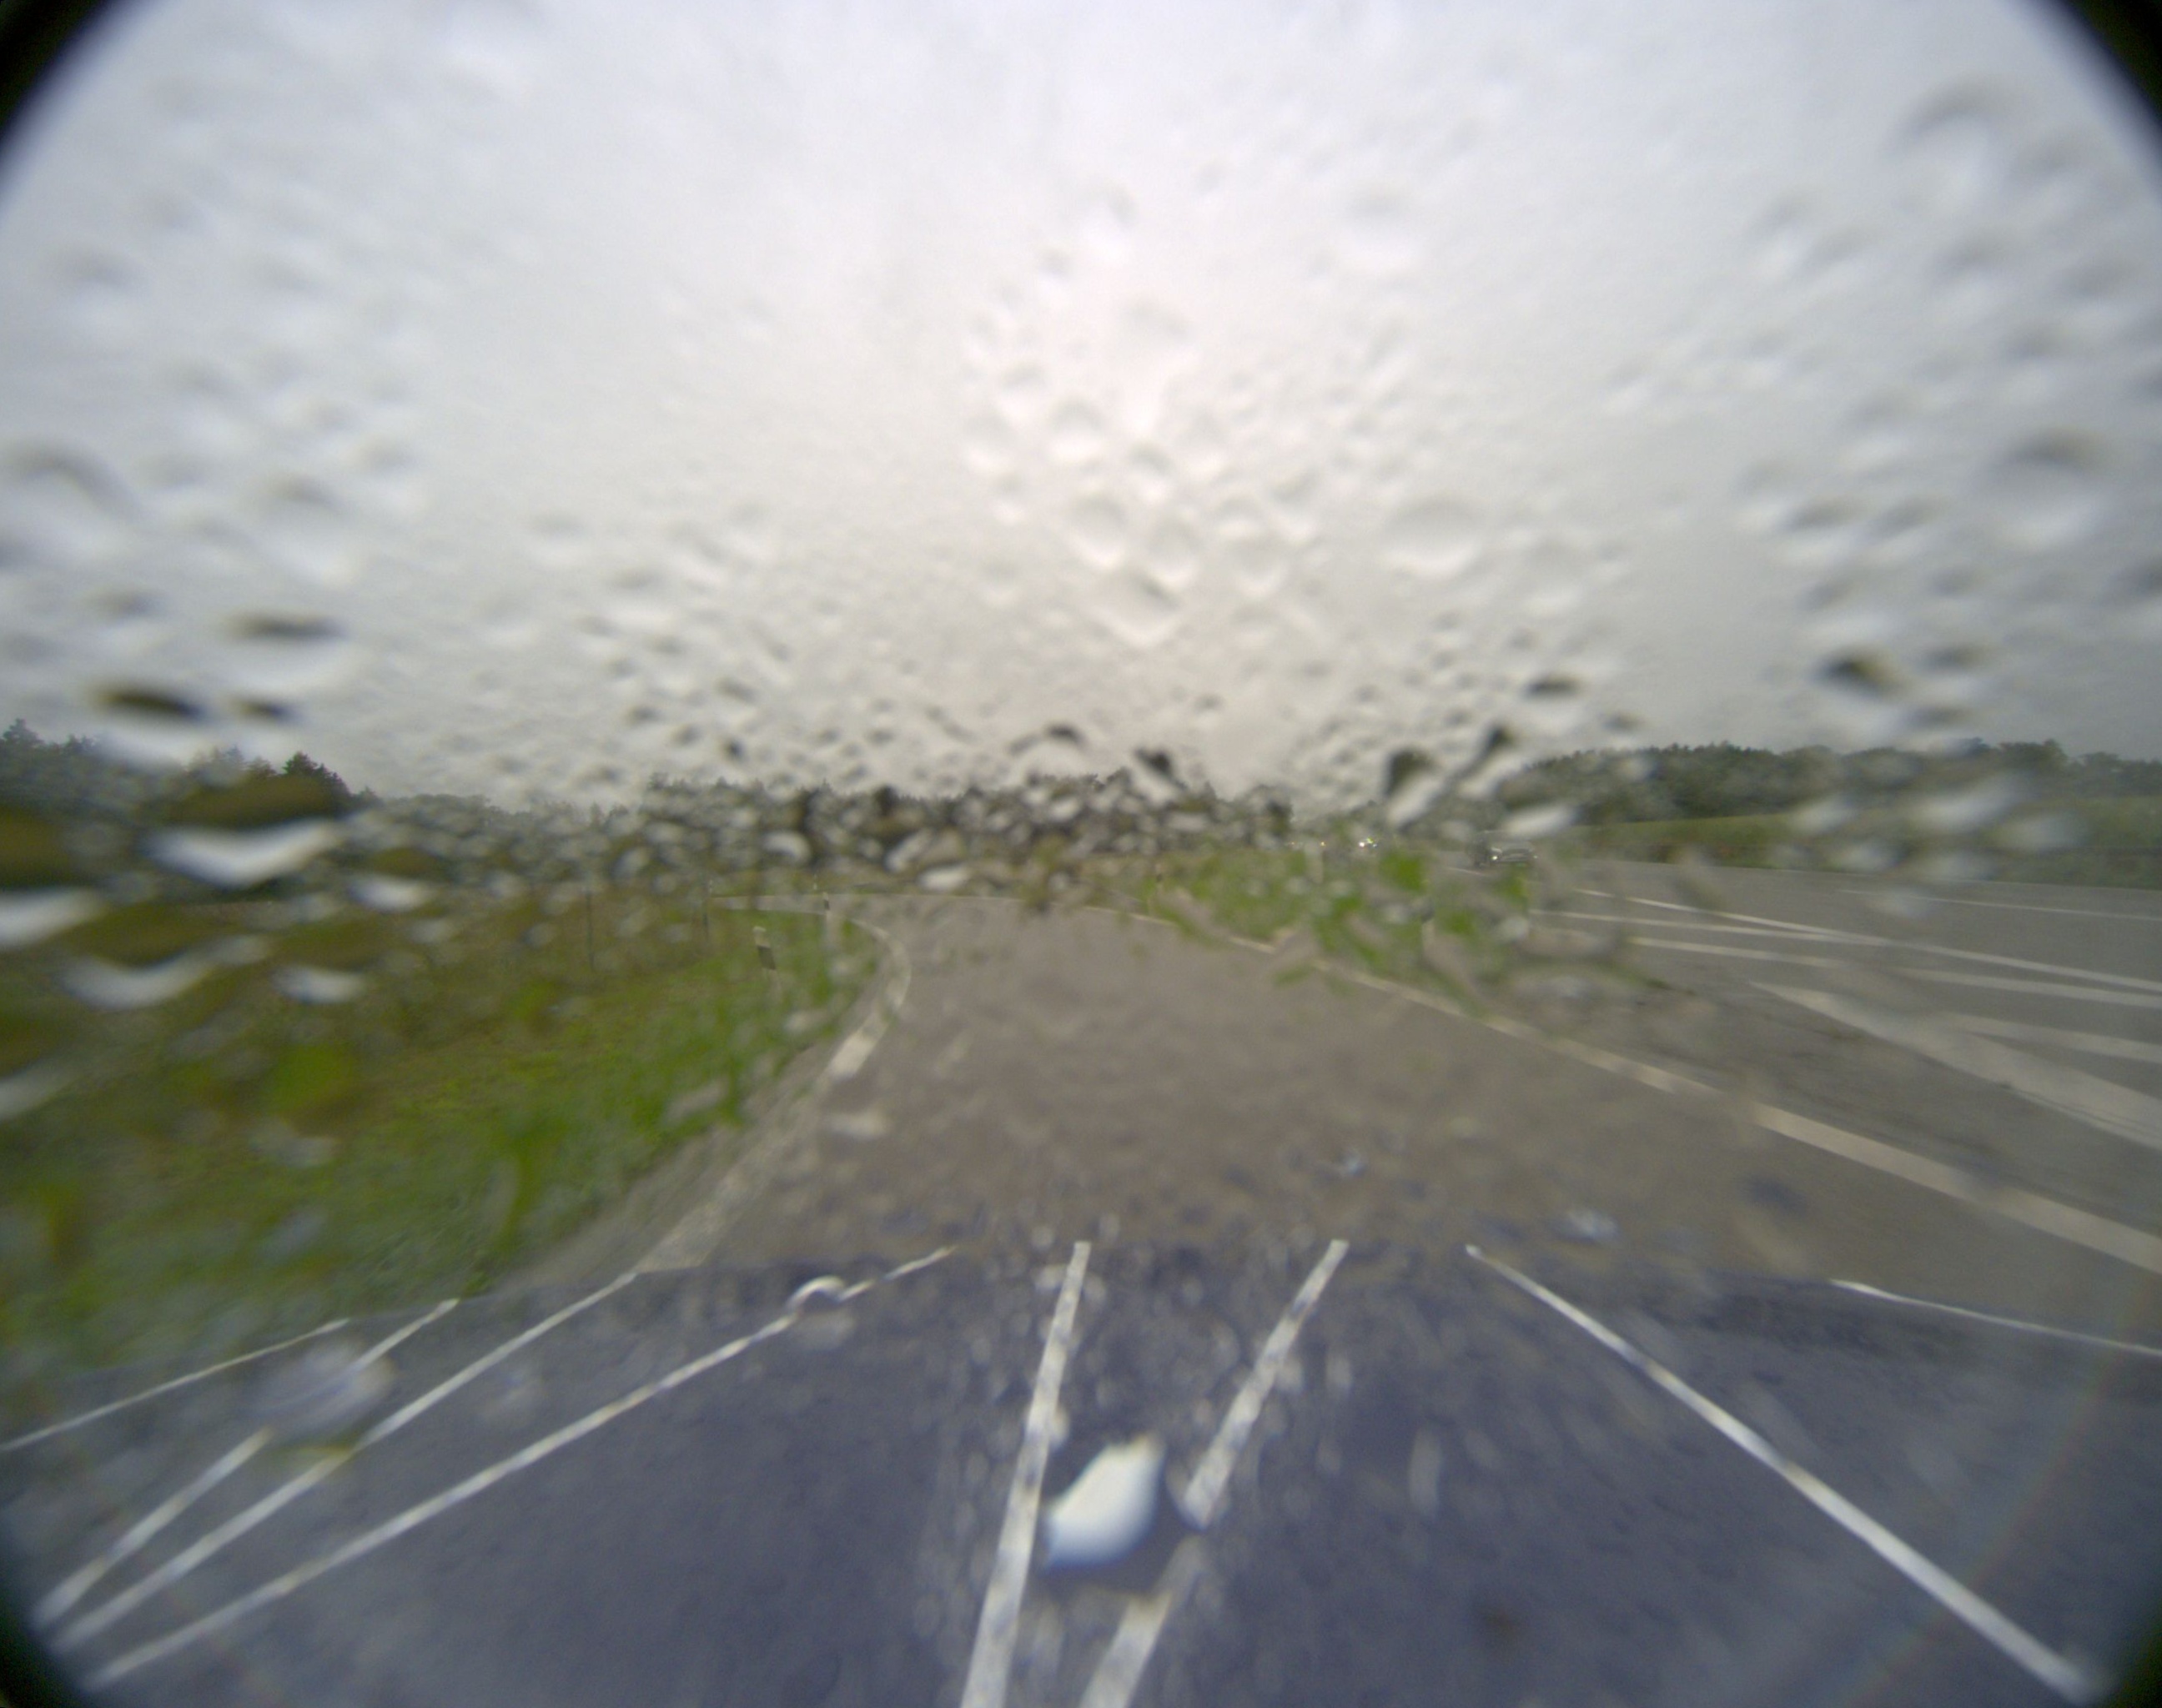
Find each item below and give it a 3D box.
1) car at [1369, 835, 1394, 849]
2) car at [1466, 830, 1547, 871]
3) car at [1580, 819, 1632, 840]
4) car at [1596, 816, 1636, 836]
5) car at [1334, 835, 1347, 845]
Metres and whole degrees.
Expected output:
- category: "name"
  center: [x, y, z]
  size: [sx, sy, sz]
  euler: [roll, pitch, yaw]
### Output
- category: "car"
  center: [32.670, -1.293, 82.609]
  size: [2.096, 1.445, 4.600]
  euler: [-1, 1, 17]
- category: "car"
  center: [18.761, -0.188, 33.741]
  size: [1.865, 1.625, 5.106]
  euler: [-2, 1, 15]
- category: "car"
  center: [42.682, -1.961, 61.871]
  size: [2.108, 1.530, 4.536]
  euler: [-3, 0, 16]
- category: "car"
  center: [52.574, -2.695, 74.706]
  size: [1.732, 1.726, 4.004]
  euler: [-3, 0, 13]
- category: "car"
  center: [47.370, -2.601, 138.760]
  size: [2.148, 1.627, 4.600]
  euler: [-1, 1, 17]
